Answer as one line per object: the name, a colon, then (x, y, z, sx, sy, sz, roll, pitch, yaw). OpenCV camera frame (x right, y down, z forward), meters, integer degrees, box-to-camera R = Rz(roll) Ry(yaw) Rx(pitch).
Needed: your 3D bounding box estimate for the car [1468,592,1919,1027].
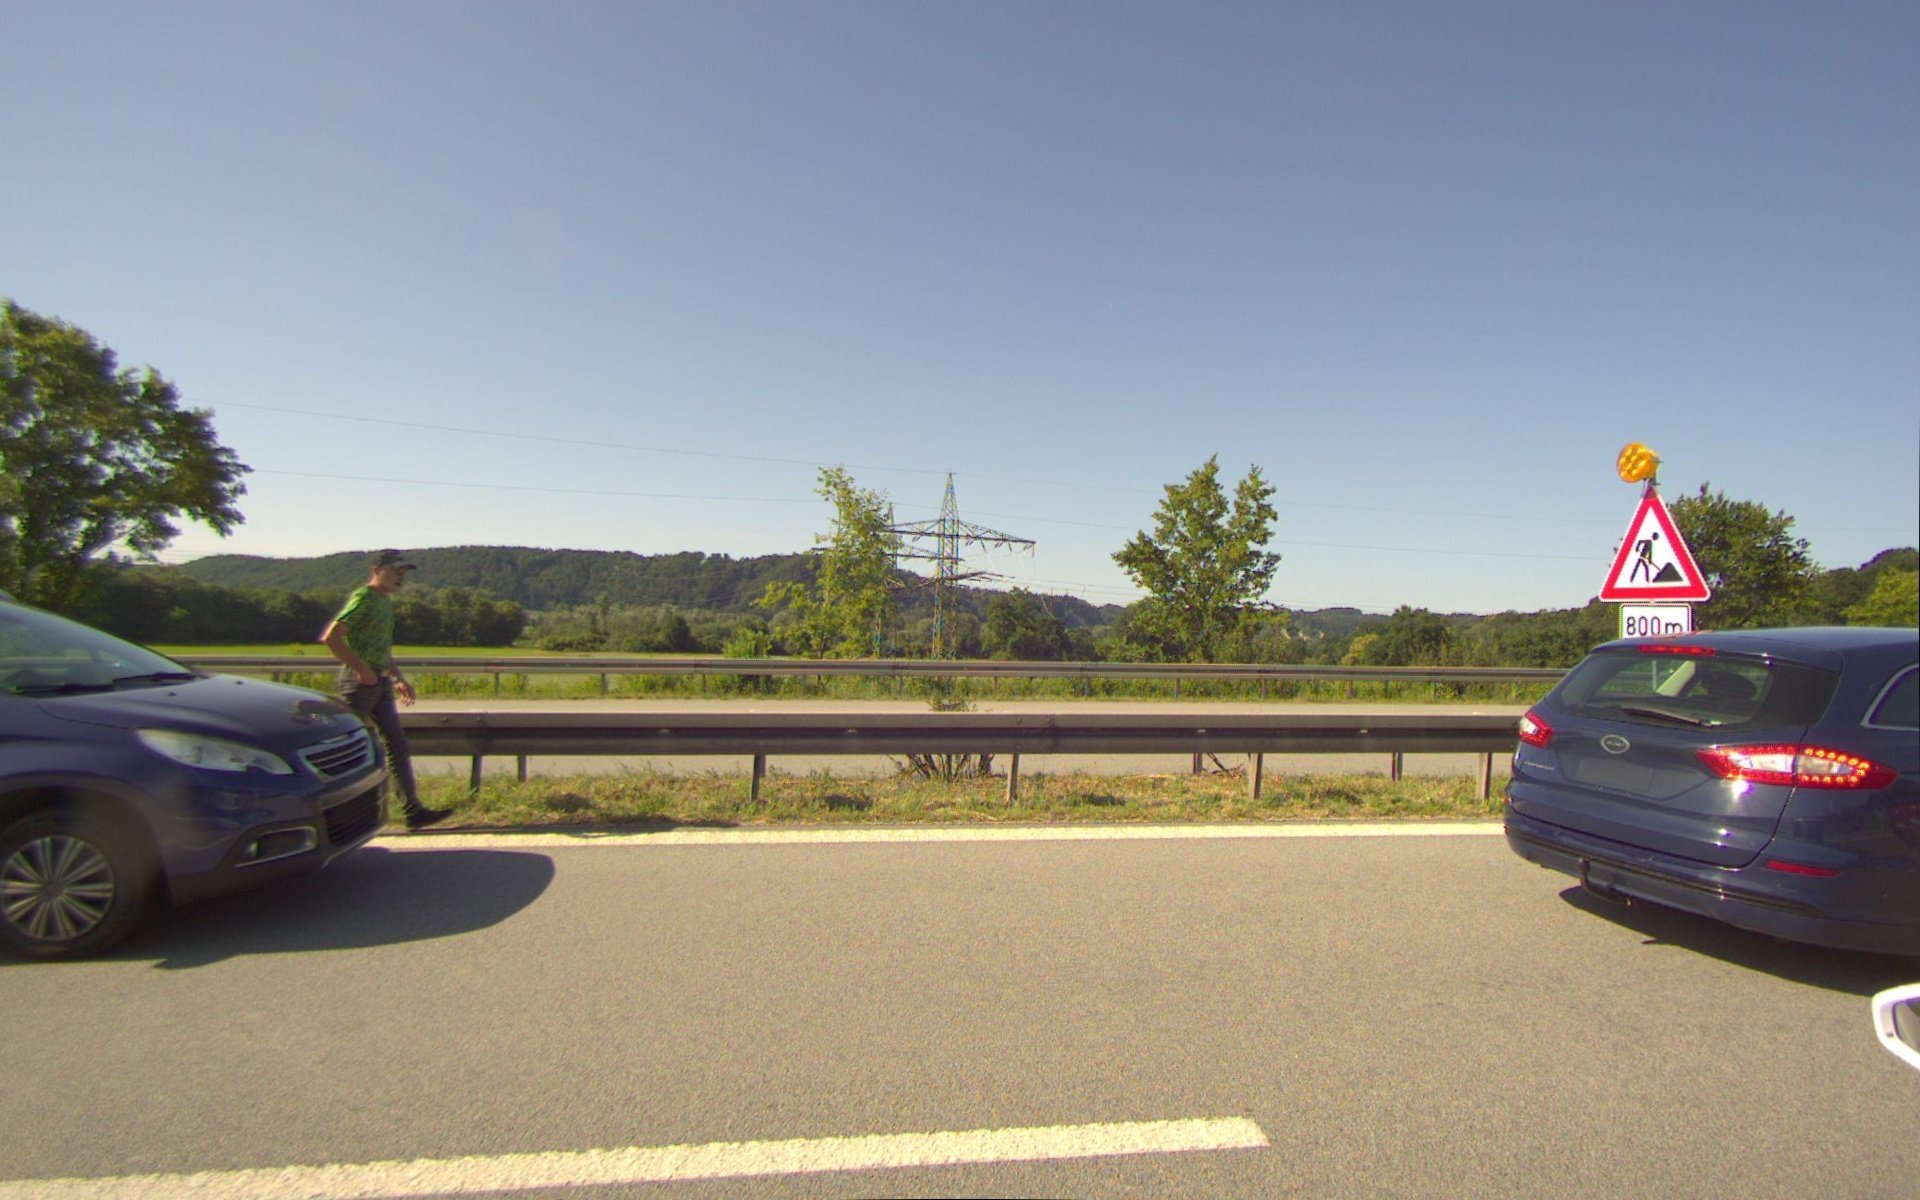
car: (5.004, 0.802, 5.010, 4.420, 1.513, 1.788, 1, -2, -17)

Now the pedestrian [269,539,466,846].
pedestrian: (-3.609, 0.548, 6.185, 0.799, 1.773, 0.672, 1, -1, -7)

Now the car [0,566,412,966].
car: (-4.881, 0.617, 4.519, 3.879, 1.555, 1.689, 1, 0, -12)
